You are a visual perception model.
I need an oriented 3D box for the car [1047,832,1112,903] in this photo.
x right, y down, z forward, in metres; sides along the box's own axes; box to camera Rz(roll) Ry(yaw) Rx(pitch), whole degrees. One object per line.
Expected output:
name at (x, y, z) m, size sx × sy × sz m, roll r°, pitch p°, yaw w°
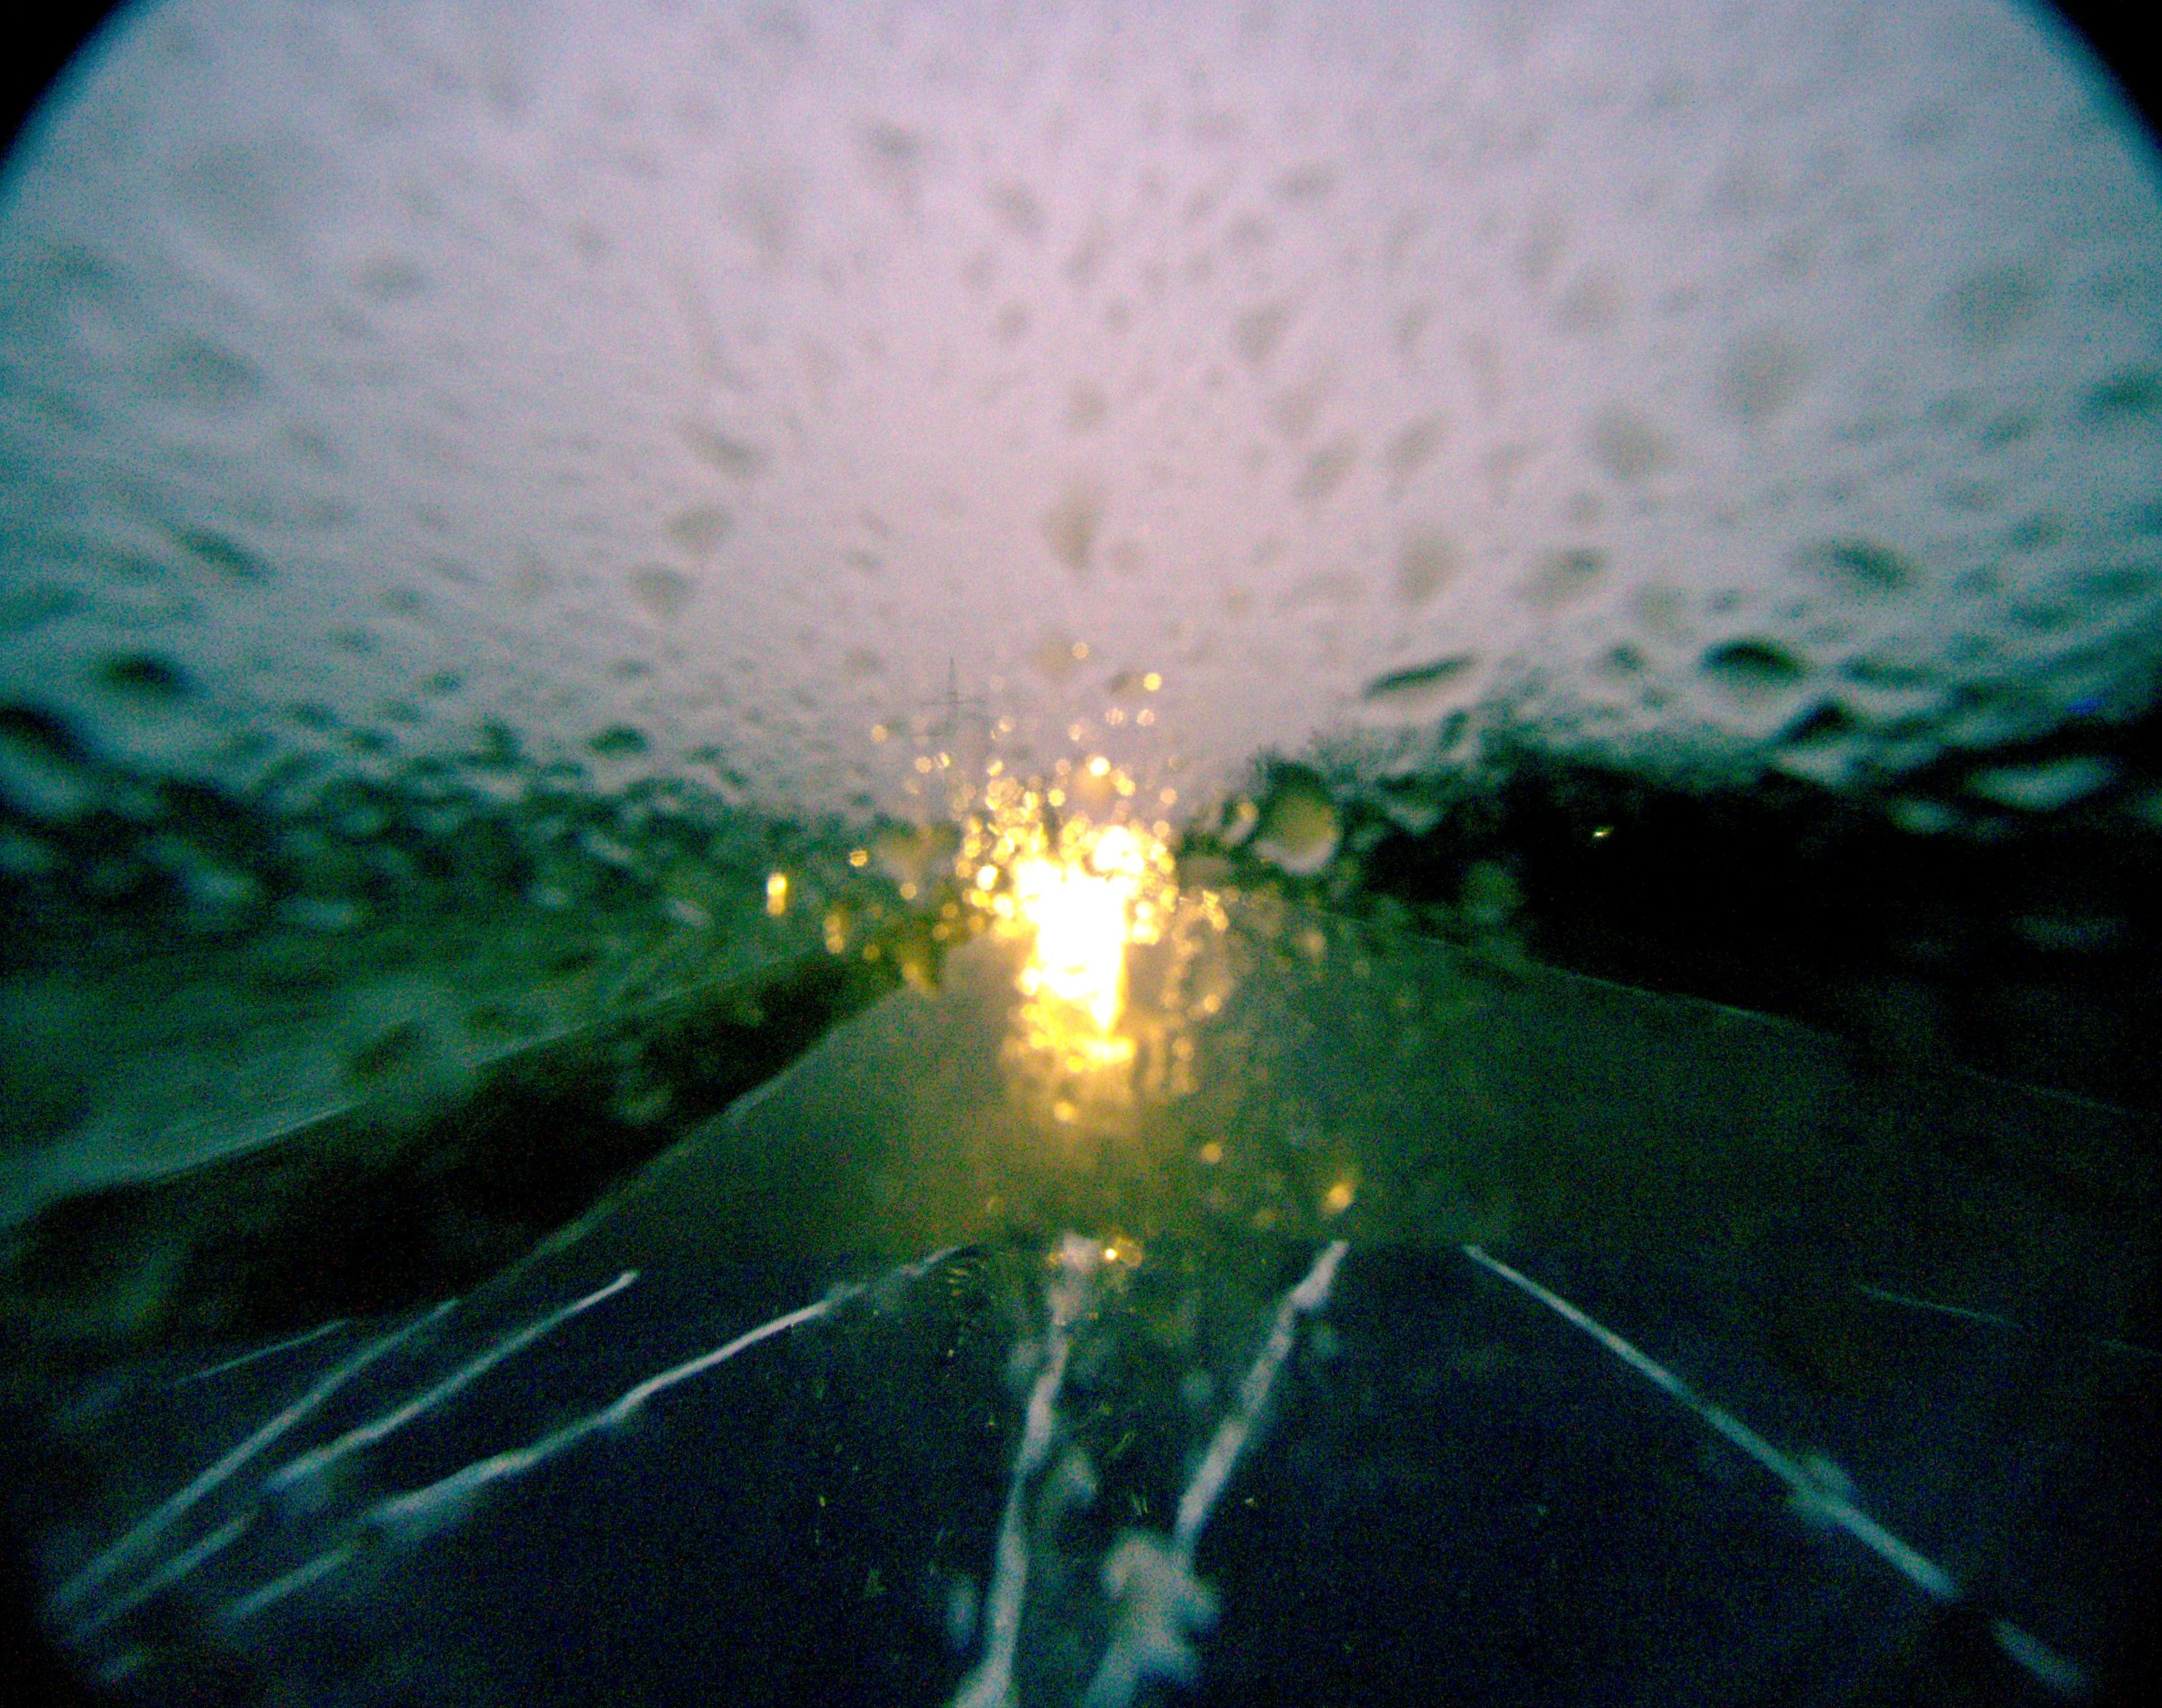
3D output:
car at (0.043, 0.419, 26.444) m, size 1.952 × 2.195 × 4.535 m, roll -2°, pitch 1°, yaw 3°

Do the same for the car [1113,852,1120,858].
car at (9.442, 0.237, 201.448) m, size 1.912 × 1.549 × 3.929 m, roll -2°, pitch 1°, yaw 3°
